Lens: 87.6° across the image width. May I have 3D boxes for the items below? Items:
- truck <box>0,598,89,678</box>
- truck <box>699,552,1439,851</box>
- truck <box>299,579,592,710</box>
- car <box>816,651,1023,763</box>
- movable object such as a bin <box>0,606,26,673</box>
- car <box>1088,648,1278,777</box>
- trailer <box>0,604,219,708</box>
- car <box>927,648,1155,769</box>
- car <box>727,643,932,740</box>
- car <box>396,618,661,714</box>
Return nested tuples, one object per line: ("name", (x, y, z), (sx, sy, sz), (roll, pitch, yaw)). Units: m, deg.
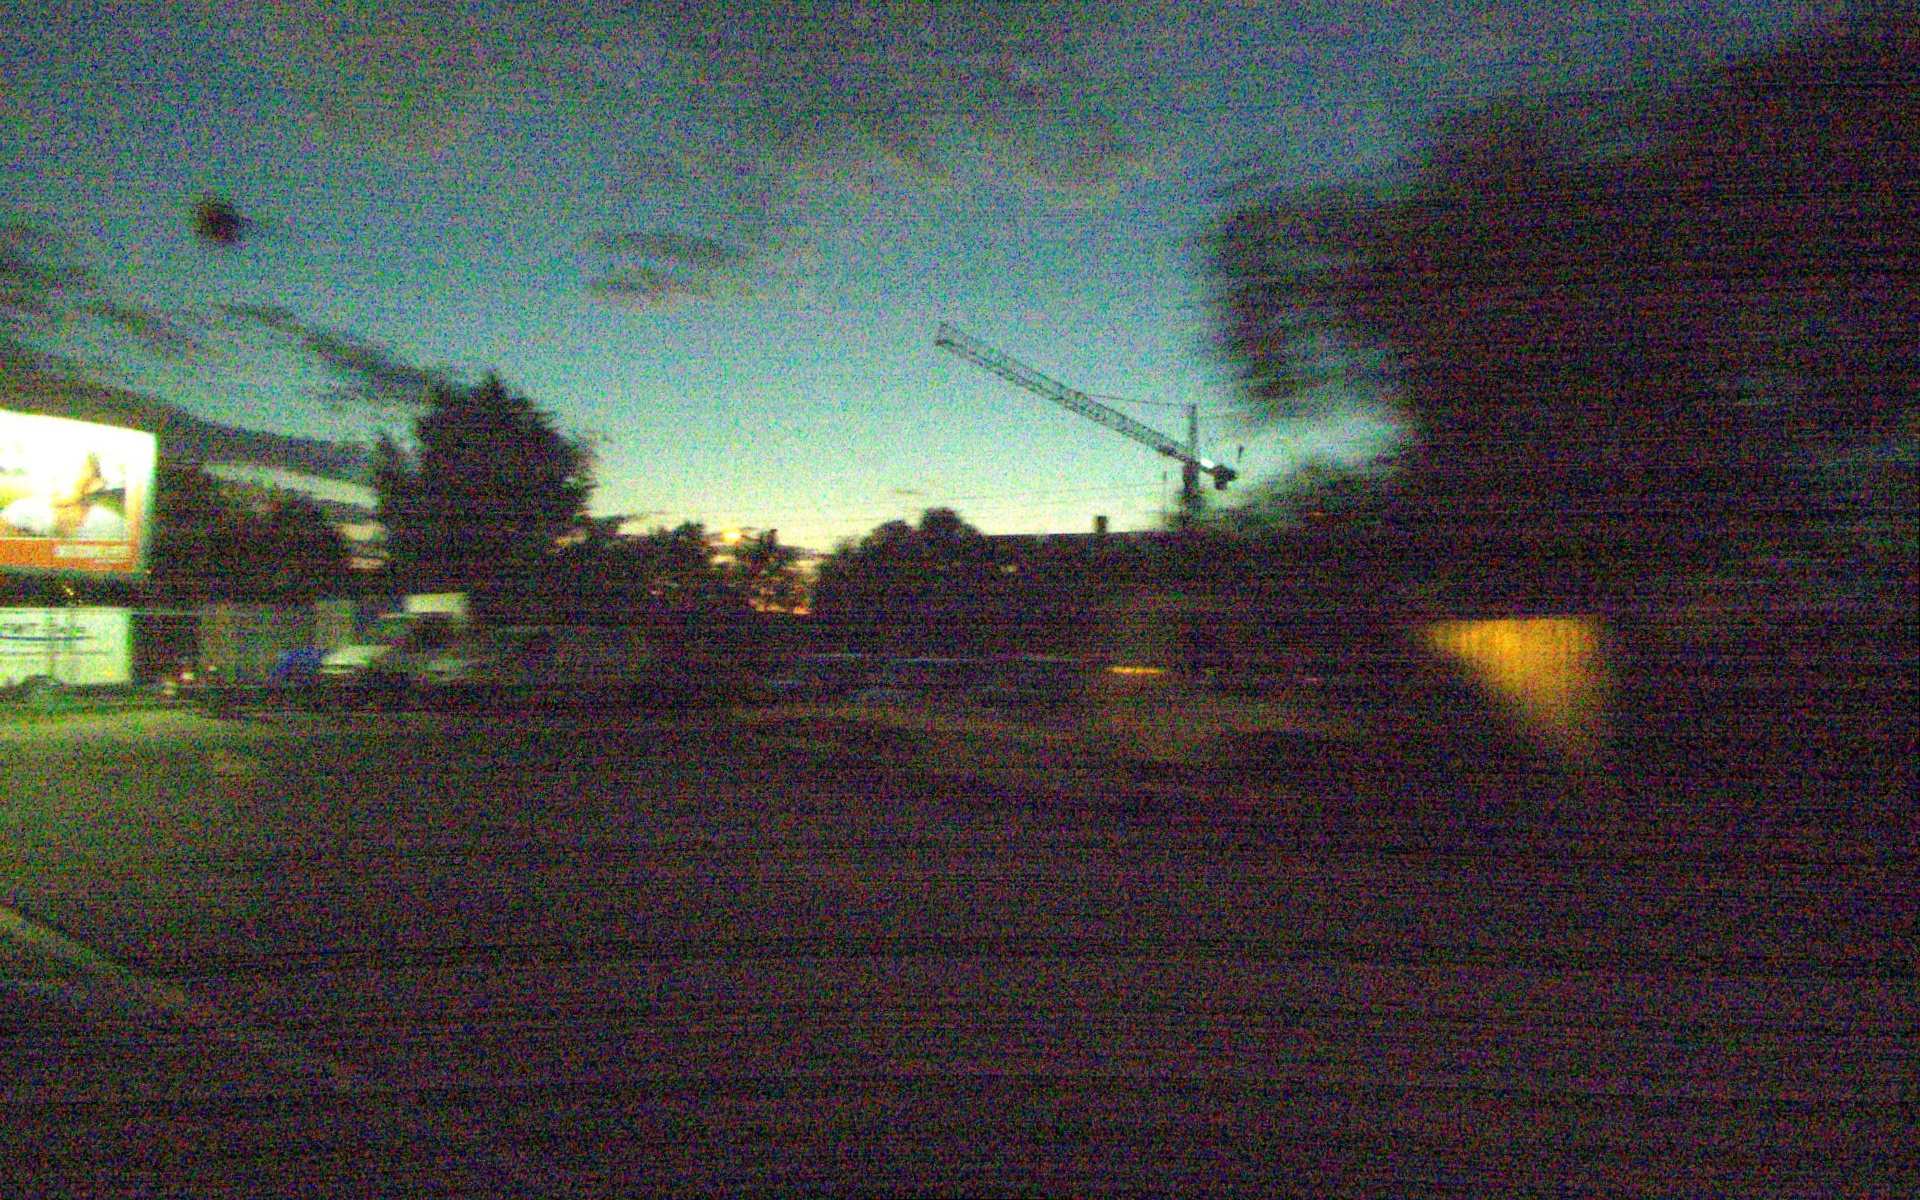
("truck", (-35.305, 1.434, 37.674), (7.220, 2.782, 2.178), (-1, -4, 36))
("truck", (0.824, 0.879, 10.776), (7.631, 2.312, 2.375), (-1, -3, 32))
("truck", (-11.613, 1.058, 23.105), (2.436, 2.632, 5.525), (0, -3, 31))
("car", (-0.552, 1.711, 16.945), (1.683, 1.615, 3.853), (0, -3, 30))
("movable object such as a bin", (-41.112, 1.603, 41.638), (3.808, 2.758, 2.226), (0, -3, 31))
("car", (3.443, 1.561, 14.943), (1.683, 1.624, 3.853), (0, -3, 30))
("trailer", (-17.982, 1.148, 21.068), (3.710, 2.040, 1.604), (2, -1, -34))
("car", (1.369, 1.566, 15.436), (1.876, 1.580, 3.849), (-1, -3, 34))
("car", (-2.240, 1.597, 18.208), (1.683, 1.534, 3.853), (0, -3, 30))
("car", (-9.281, 1.430, 22.023), (1.962, 1.859, 5.063), (-1, -3, 35))
